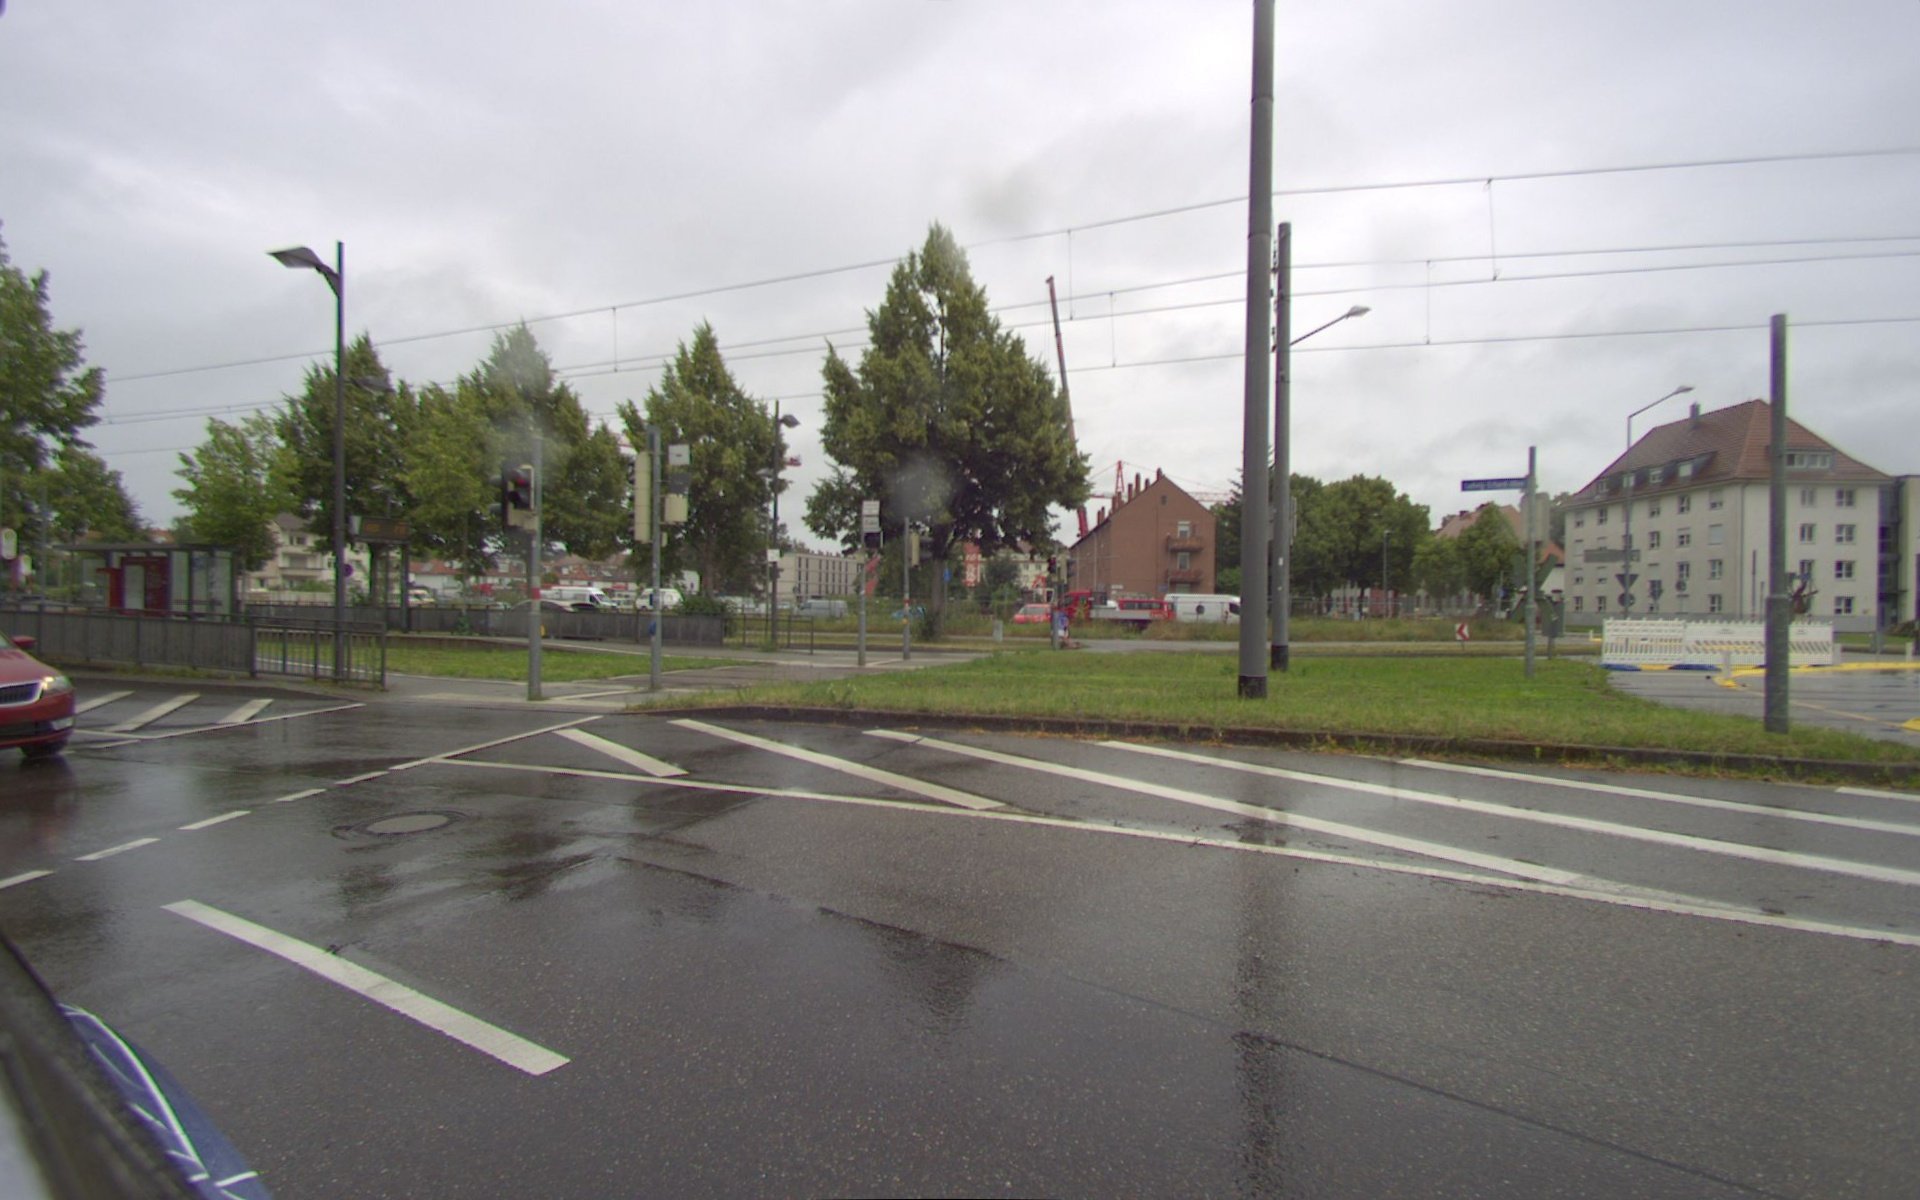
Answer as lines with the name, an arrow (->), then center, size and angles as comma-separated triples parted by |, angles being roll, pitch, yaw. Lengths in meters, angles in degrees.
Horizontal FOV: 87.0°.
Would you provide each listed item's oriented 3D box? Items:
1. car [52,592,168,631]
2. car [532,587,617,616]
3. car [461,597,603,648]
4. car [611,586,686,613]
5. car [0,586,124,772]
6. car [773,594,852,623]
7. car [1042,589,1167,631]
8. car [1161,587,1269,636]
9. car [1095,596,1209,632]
car -> -35.625, 0.441, 42.417 | 4.595, 1.497, 1.818 | 1, 2, 22
car -> -35.283, 0.127, 92.605 | 7.580, 2.495, 2.342 | 1, 2, 20
car -> -13.964, 0.704, 33.019 | 4.196, 1.497, 1.839 | 1, 2, 22
car -> -30.057, -0.048, 97.649 | 6.784, 2.495, 2.485 | 1, 2, 20
car -> -9.714, 0.627, 8.986 | 4.288, 1.470, 1.775 | 1, 2, 23
car -> -13.309, 0.760, 91.482 | 6.760, 2.495, 2.350 | 1, 0, 10
car -> 7.855, 0.496, 55.281 | 6.411, 2.028, 2.330 | 1, 2, 34
car -> 16.597, 0.715, 66.002 | 6.411, 2.961, 2.330 | 1, 2, 34
car -> 11.532, 0.805, 60.980 | 6.411, 2.029, 2.330 | 0, -1, 34
